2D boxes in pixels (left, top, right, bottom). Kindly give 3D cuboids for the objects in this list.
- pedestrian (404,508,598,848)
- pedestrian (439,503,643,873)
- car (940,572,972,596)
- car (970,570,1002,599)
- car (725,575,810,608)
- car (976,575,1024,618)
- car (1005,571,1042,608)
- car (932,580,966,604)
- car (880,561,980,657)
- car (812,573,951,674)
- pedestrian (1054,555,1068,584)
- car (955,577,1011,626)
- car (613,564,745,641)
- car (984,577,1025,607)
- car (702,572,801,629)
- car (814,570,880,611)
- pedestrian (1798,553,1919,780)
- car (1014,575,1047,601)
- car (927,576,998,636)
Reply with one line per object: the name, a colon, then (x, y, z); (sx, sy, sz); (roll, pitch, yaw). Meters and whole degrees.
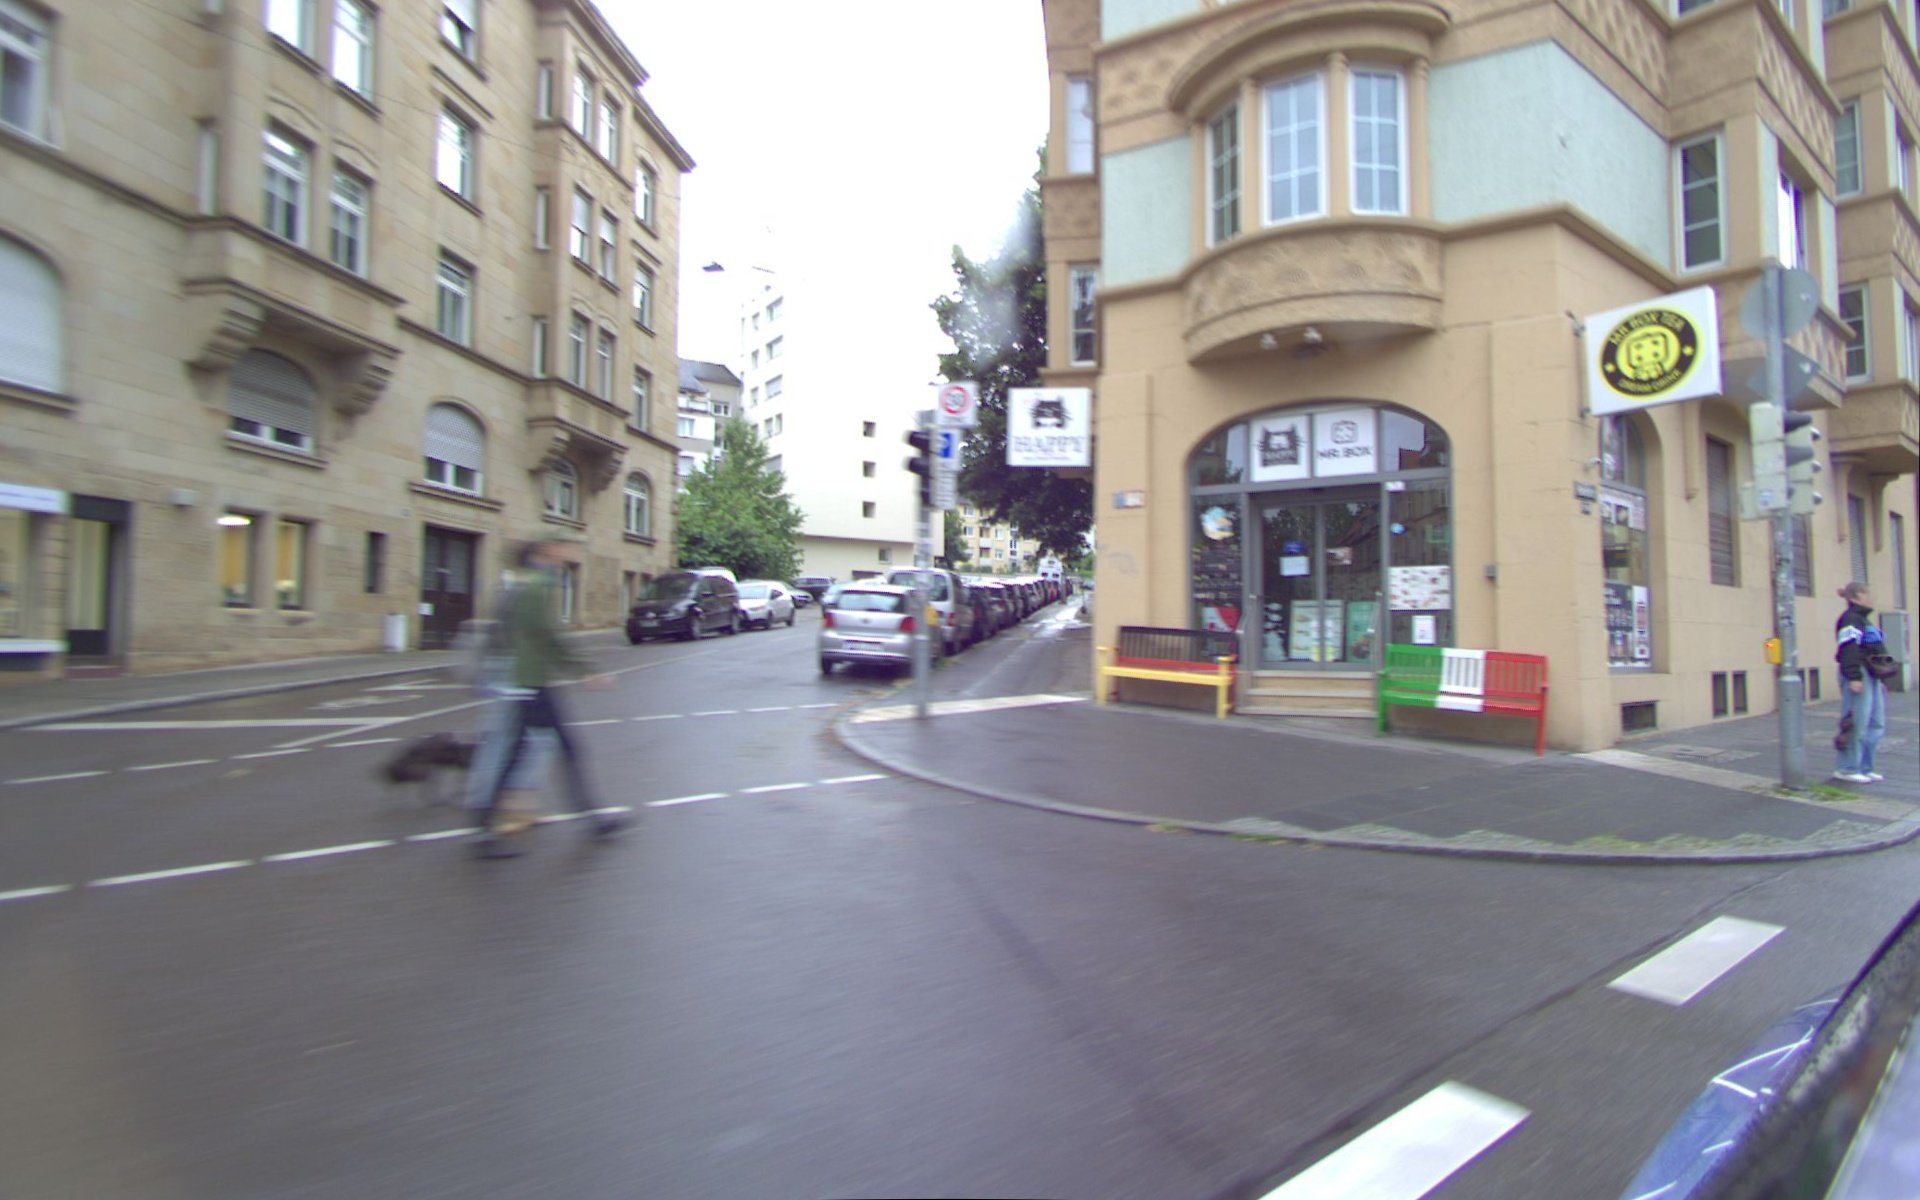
pedestrian: (-2.696, 0.410, 5.957); (0.886, 1.811, 0.683); (0, 0, -42)
pedestrian: (-2.254, 0.424, 5.460); (0.875, 1.811, 0.595); (0, 0, -42)
car: (-0.267, -1.196, 76.625); (1.717, 1.660, 3.991); (-5, 0, 8)
car: (1.869, -1.100, 72.049); (1.717, 1.895, 3.991); (-5, 0, 8)
car: (-9.823, -0.427, 51.800); (3.936, 1.502, 1.737); (-2, -2, 11)
car: (1.490, -0.129, 36.799); (1.422, 1.443, 3.292); (-3, 0, 7)
car: (2.961, -0.471, 46.550); (1.422, 1.594, 3.278); (-3, 0, 7)
car: (-0.763, -0.561, 71.486); (1.717, 1.528, 3.991); (-5, 0, 8)
car: (-0.562, 0.108, 21.764); (1.578, 1.867, 3.549); (0, 2, 8)
car: (-1.215, 0.342, 17.145); (1.662, 1.478, 3.527); (2, 1, 7)
pedestrian: (7.502, -2.231, 75.161); (0.930, 2.040, 1.308); (-2, -2, 5)
car: (0.771, 0.034, 32.510); (1.422, 1.443, 3.292); (-3, 0, 7)
car: (-7.206, 0.026, 26.427); (1.716, 1.747, 4.350); (-4, 0, 7)
car: (1.913, -0.347, 42.787); (1.422, 1.139, 3.071); (-3, 0, 7)
car: (-6.479, -0.002, 31.859); (1.717, 1.528, 3.991); (-5, 0, 8)
car: (-4.730, -0.399, 42.924); (1.717, 1.528, 3.991); (-5, 0, 8)
pedestrian: (7.991, 0.534, 8.814); (0.965, 1.863, 0.888); (2, 2, 43)
car: (3.519, -0.597, 50.091); (1.422, 1.187, 3.278); (-3, 0, 7)
car: (0.116, 0.136, 26.070); (1.422, 1.443, 3.292); (-1, 0, 7)
